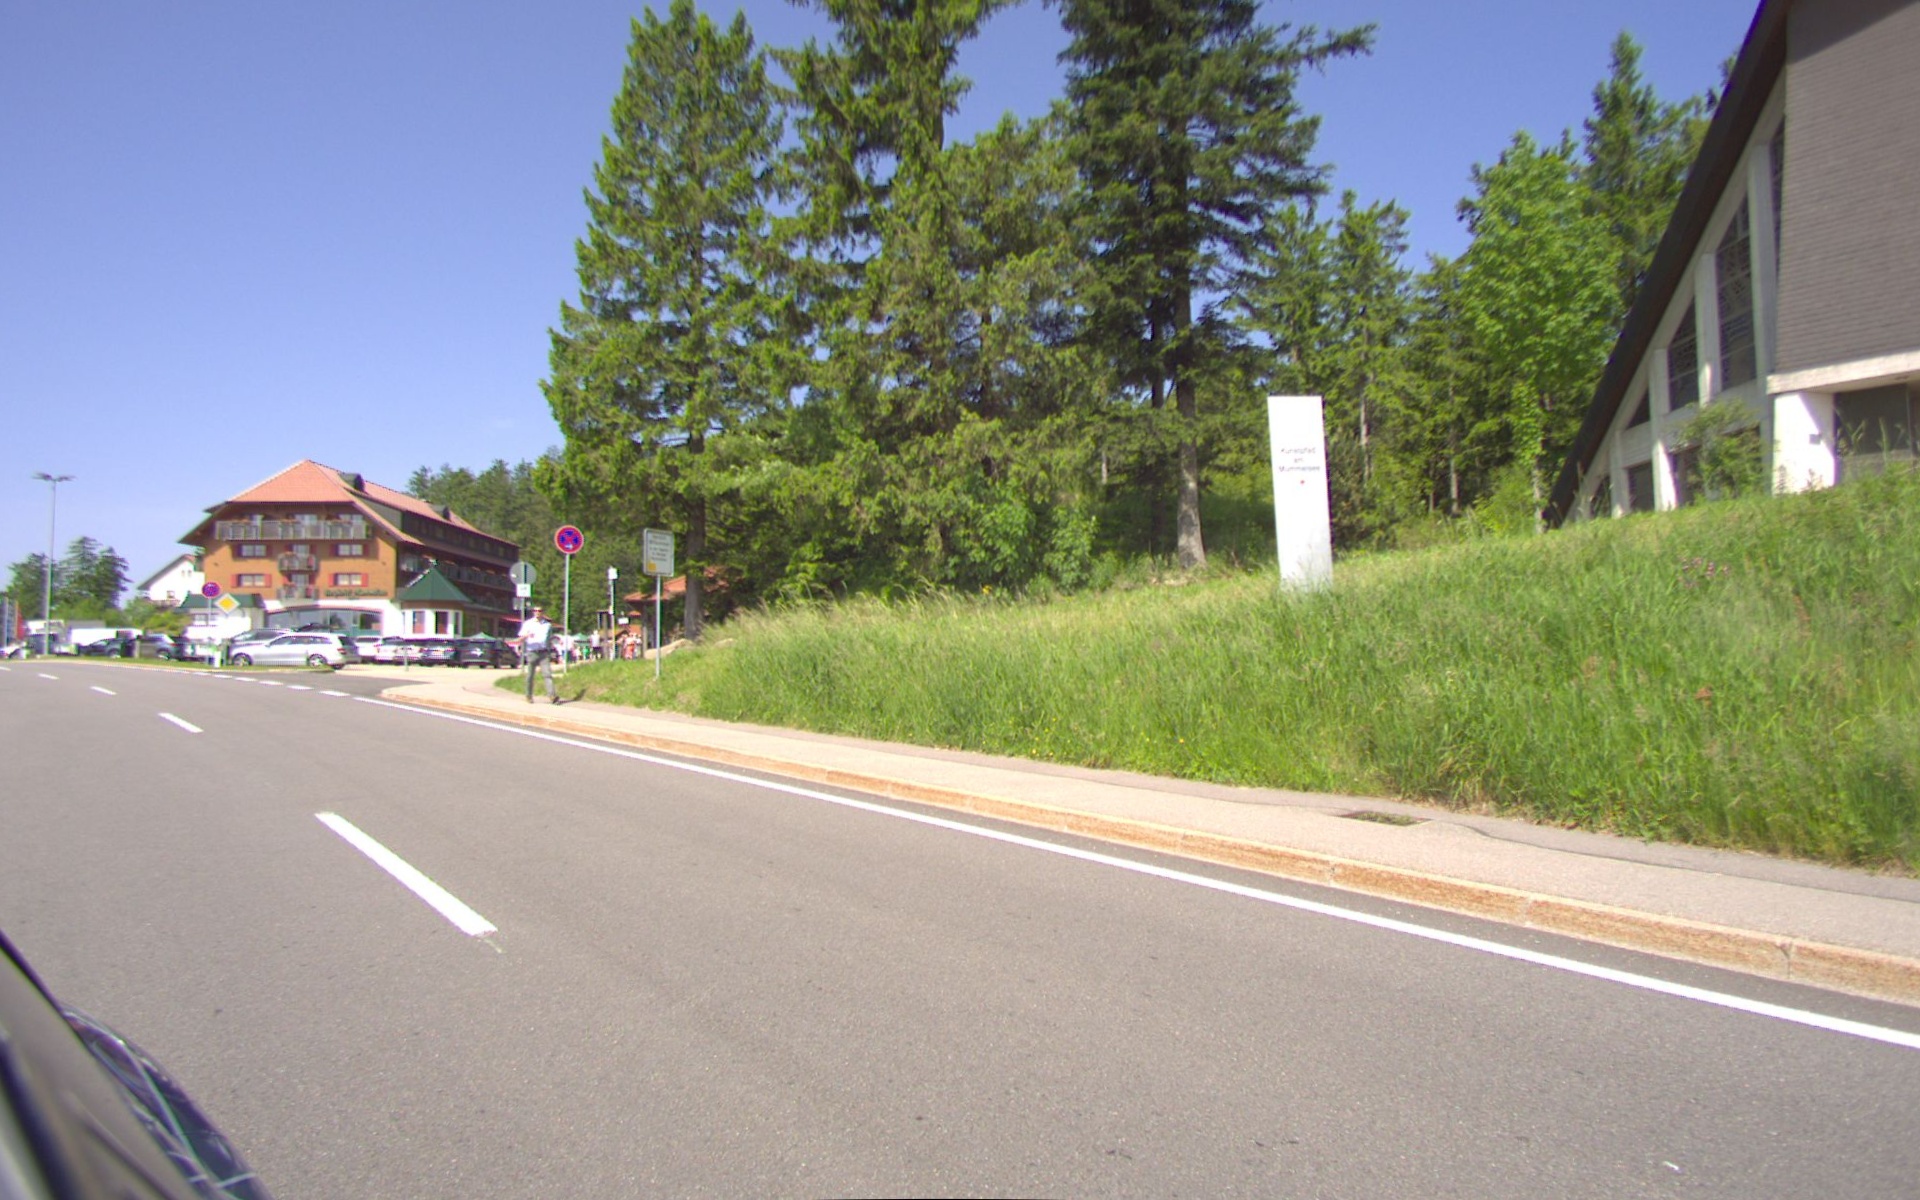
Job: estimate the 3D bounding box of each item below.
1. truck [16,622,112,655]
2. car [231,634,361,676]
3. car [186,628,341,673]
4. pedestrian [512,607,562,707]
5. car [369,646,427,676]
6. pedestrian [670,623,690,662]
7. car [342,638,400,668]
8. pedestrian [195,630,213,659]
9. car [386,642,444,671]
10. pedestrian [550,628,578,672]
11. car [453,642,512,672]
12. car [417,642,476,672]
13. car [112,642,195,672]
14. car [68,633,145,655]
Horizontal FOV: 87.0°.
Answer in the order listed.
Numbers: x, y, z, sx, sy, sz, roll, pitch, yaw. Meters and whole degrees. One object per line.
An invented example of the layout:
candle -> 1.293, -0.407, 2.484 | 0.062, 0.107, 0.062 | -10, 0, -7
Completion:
truck -> -83.370, 3.539, 94.443 | 2.822, 2.851, 8.783 | 0, -1, -12
car -> -26.263, 2.155, 40.149 | 3.900, 1.600, 1.793 | 0, -2, -8
car -> -30.657, 2.221, 44.739 | 5.274, 1.884, 2.005 | 0, -2, -14
pedestrian -> -7.613, 1.007, 18.214 | 0.687, 1.754, 0.573 | -2, -3, 42
car -> -30.735, 3.313, 55.472 | 1.704, 1.476, 3.527 | -1, -1, -9
pedestrian -> -14.701, 2.235, 53.152 | 0.883, 2.029, 0.789 | -1, -1, -7
car -> -33.206, 2.960, 57.113 | 1.688, 1.564, 3.138 | 0, -1, -6
pedestrian -> -44.448, 2.605, 59.485 | 0.768, 1.712, 0.684 | 1, -3, -43
car -> -28.501, 2.943, 52.992 | 1.615, 1.445, 3.321 | 0, -3, -8
pedestrian -> -16.140, 2.026, 41.304 | 0.900, 1.754, 0.637 | 0, -2, -1
car -> -23.367, 2.770, 49.648 | 1.686, 1.406, 3.321 | 0, -3, -8
car -> -25.815, 2.845, 50.981 | 1.691, 1.445, 3.321 | 0, -3, -8
car -> -45.363, 3.207, 56.981 | 3.286, 1.604, 1.717 | 0, -2, -2
car -> -76.780, 3.915, 91.120 | 5.173, 1.920, 2.003 | 1, -2, -41
